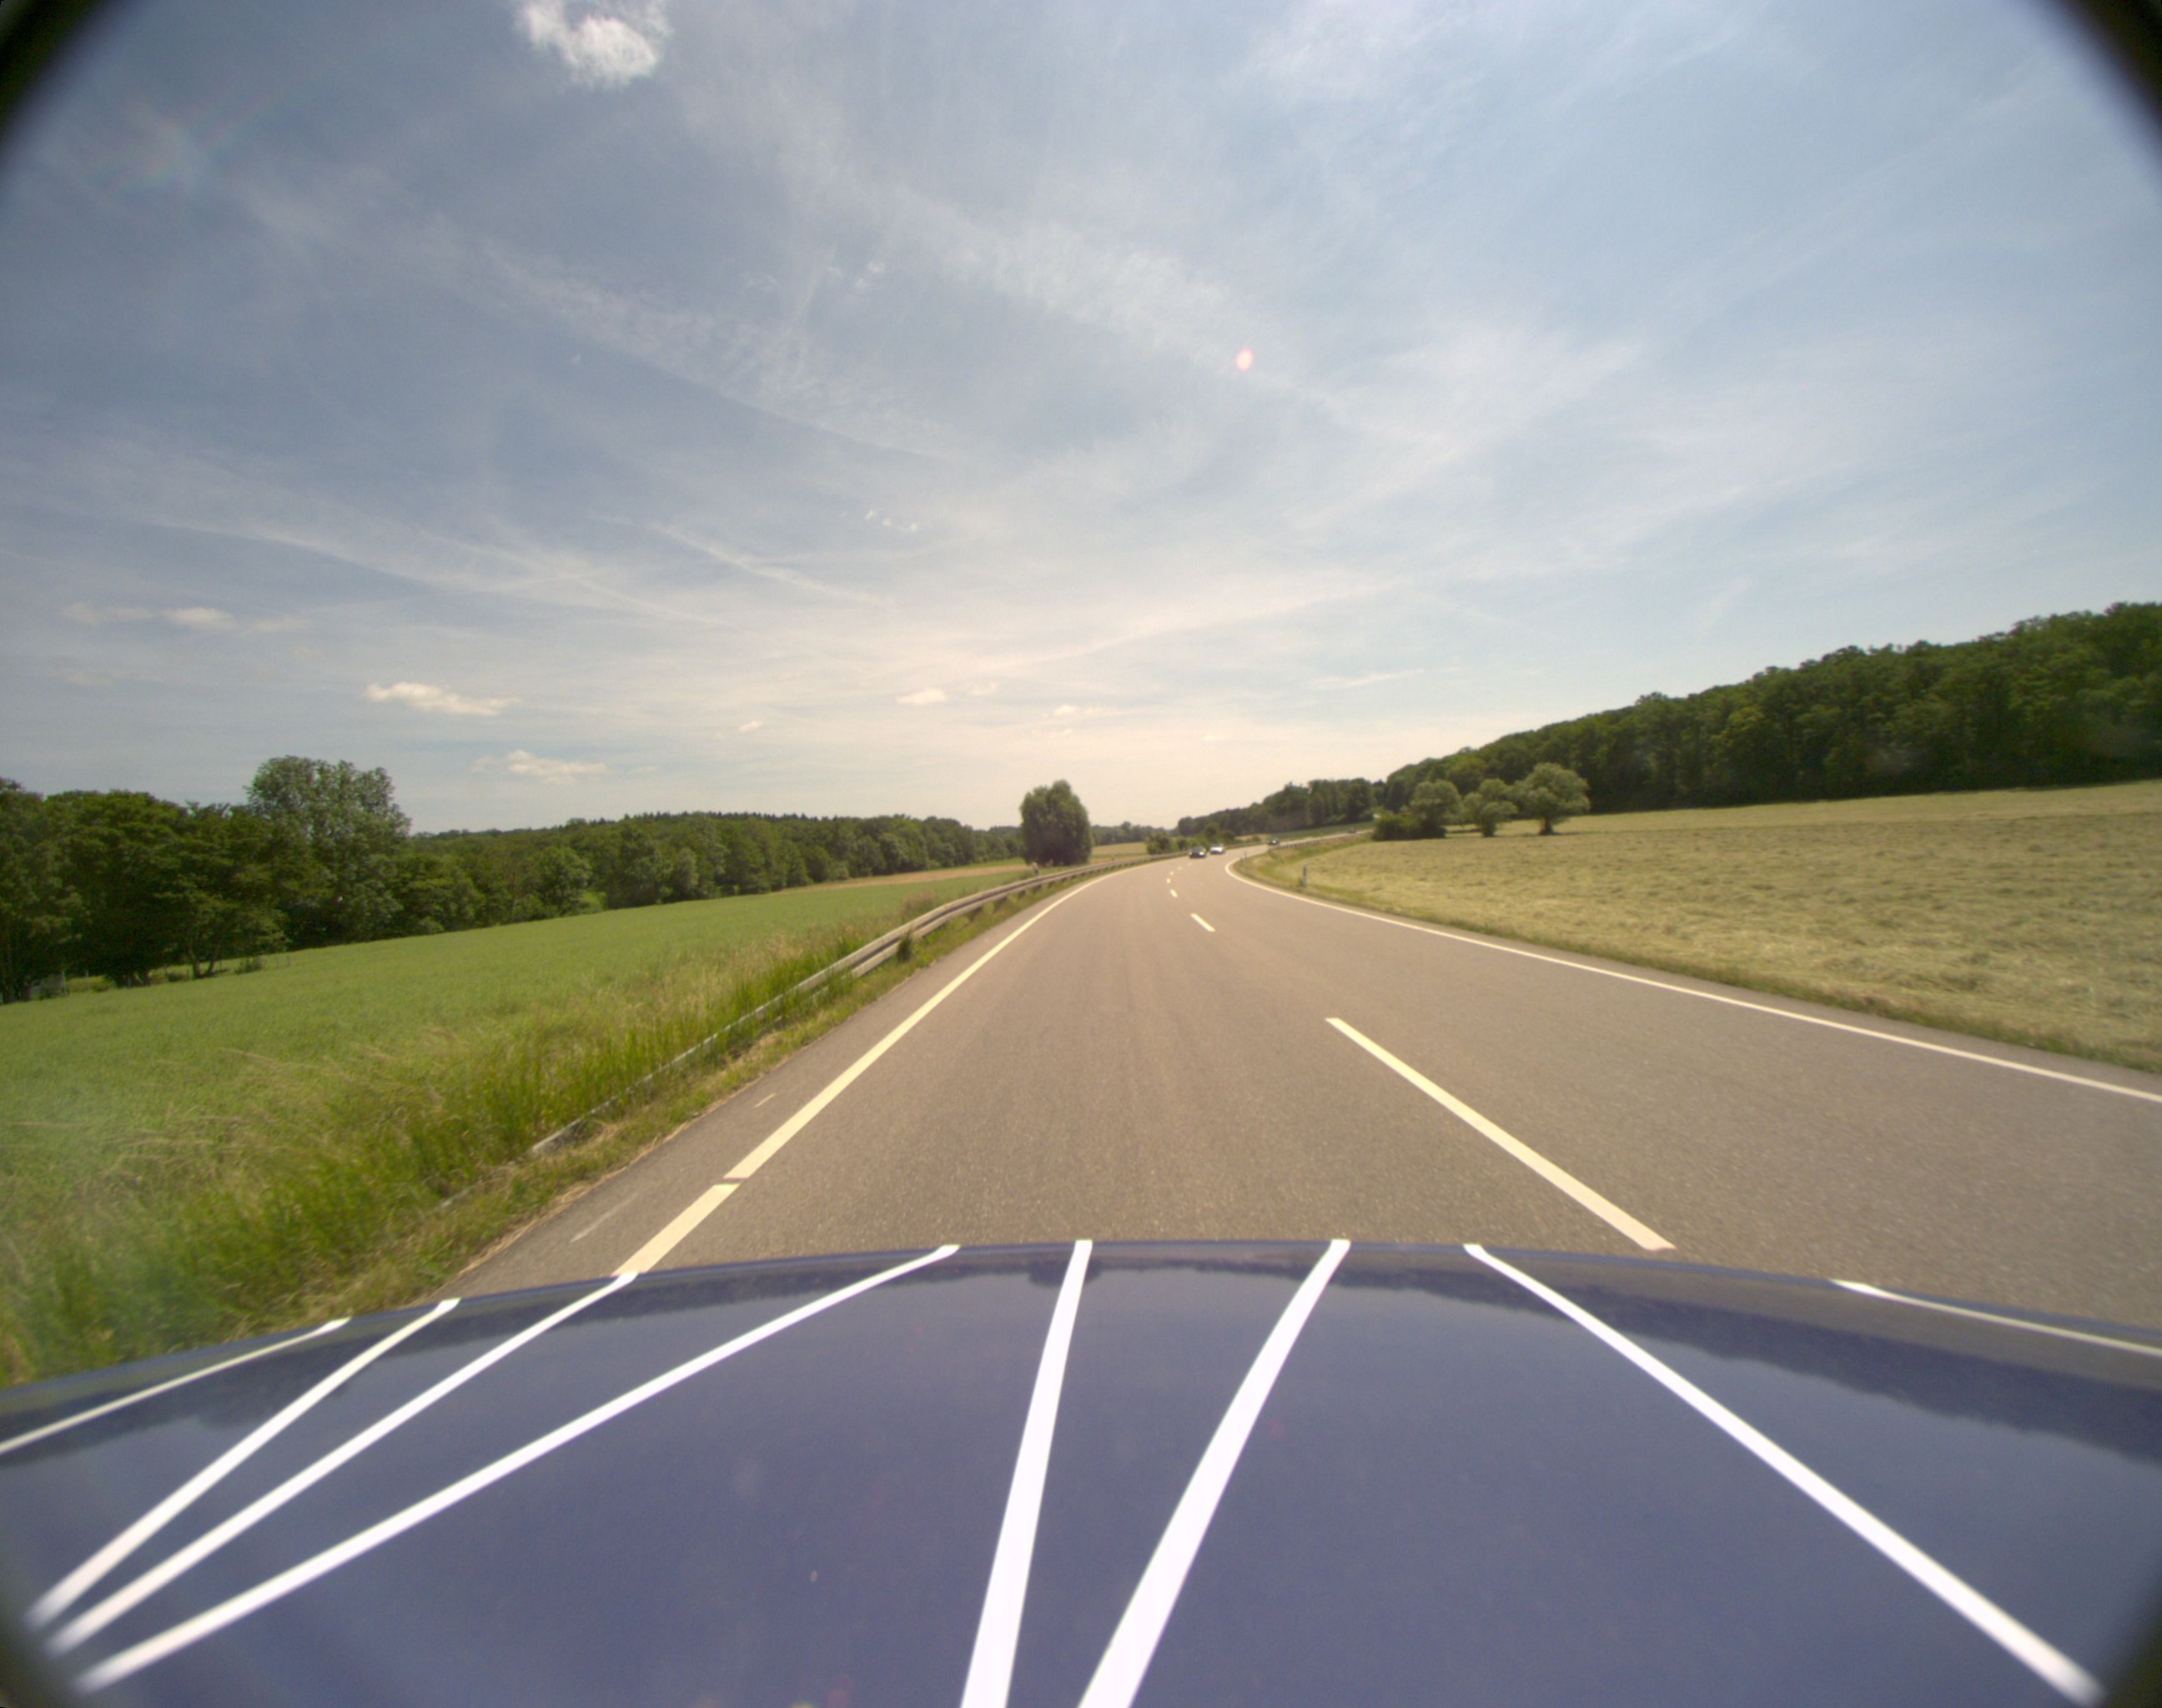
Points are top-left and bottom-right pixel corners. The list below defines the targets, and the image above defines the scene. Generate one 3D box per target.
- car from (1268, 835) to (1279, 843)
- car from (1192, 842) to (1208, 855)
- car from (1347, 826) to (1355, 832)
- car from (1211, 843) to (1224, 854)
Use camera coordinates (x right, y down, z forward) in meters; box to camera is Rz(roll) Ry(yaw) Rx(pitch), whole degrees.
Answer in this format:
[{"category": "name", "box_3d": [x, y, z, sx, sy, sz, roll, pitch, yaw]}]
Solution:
[{"category": "car", "box_3d": [39.746, -3.106, 156.731, 1.619, 1.428, 3.447, -2, 2, 23]}, {"category": "car", "box_3d": [15.172, -0.720, 96.772, 1.620, 1.428, 3.446, -3, 1, 16]}, {"category": "car", "box_3d": [80.201, -7.386, 225.623, 1.618, 1.428, 3.448, -2, 2, 33]}, {"category": "car", "box_3d": [20.429, -0.881, 113.585, 1.620, 1.428, 3.445, -3, 2, 16]}]
